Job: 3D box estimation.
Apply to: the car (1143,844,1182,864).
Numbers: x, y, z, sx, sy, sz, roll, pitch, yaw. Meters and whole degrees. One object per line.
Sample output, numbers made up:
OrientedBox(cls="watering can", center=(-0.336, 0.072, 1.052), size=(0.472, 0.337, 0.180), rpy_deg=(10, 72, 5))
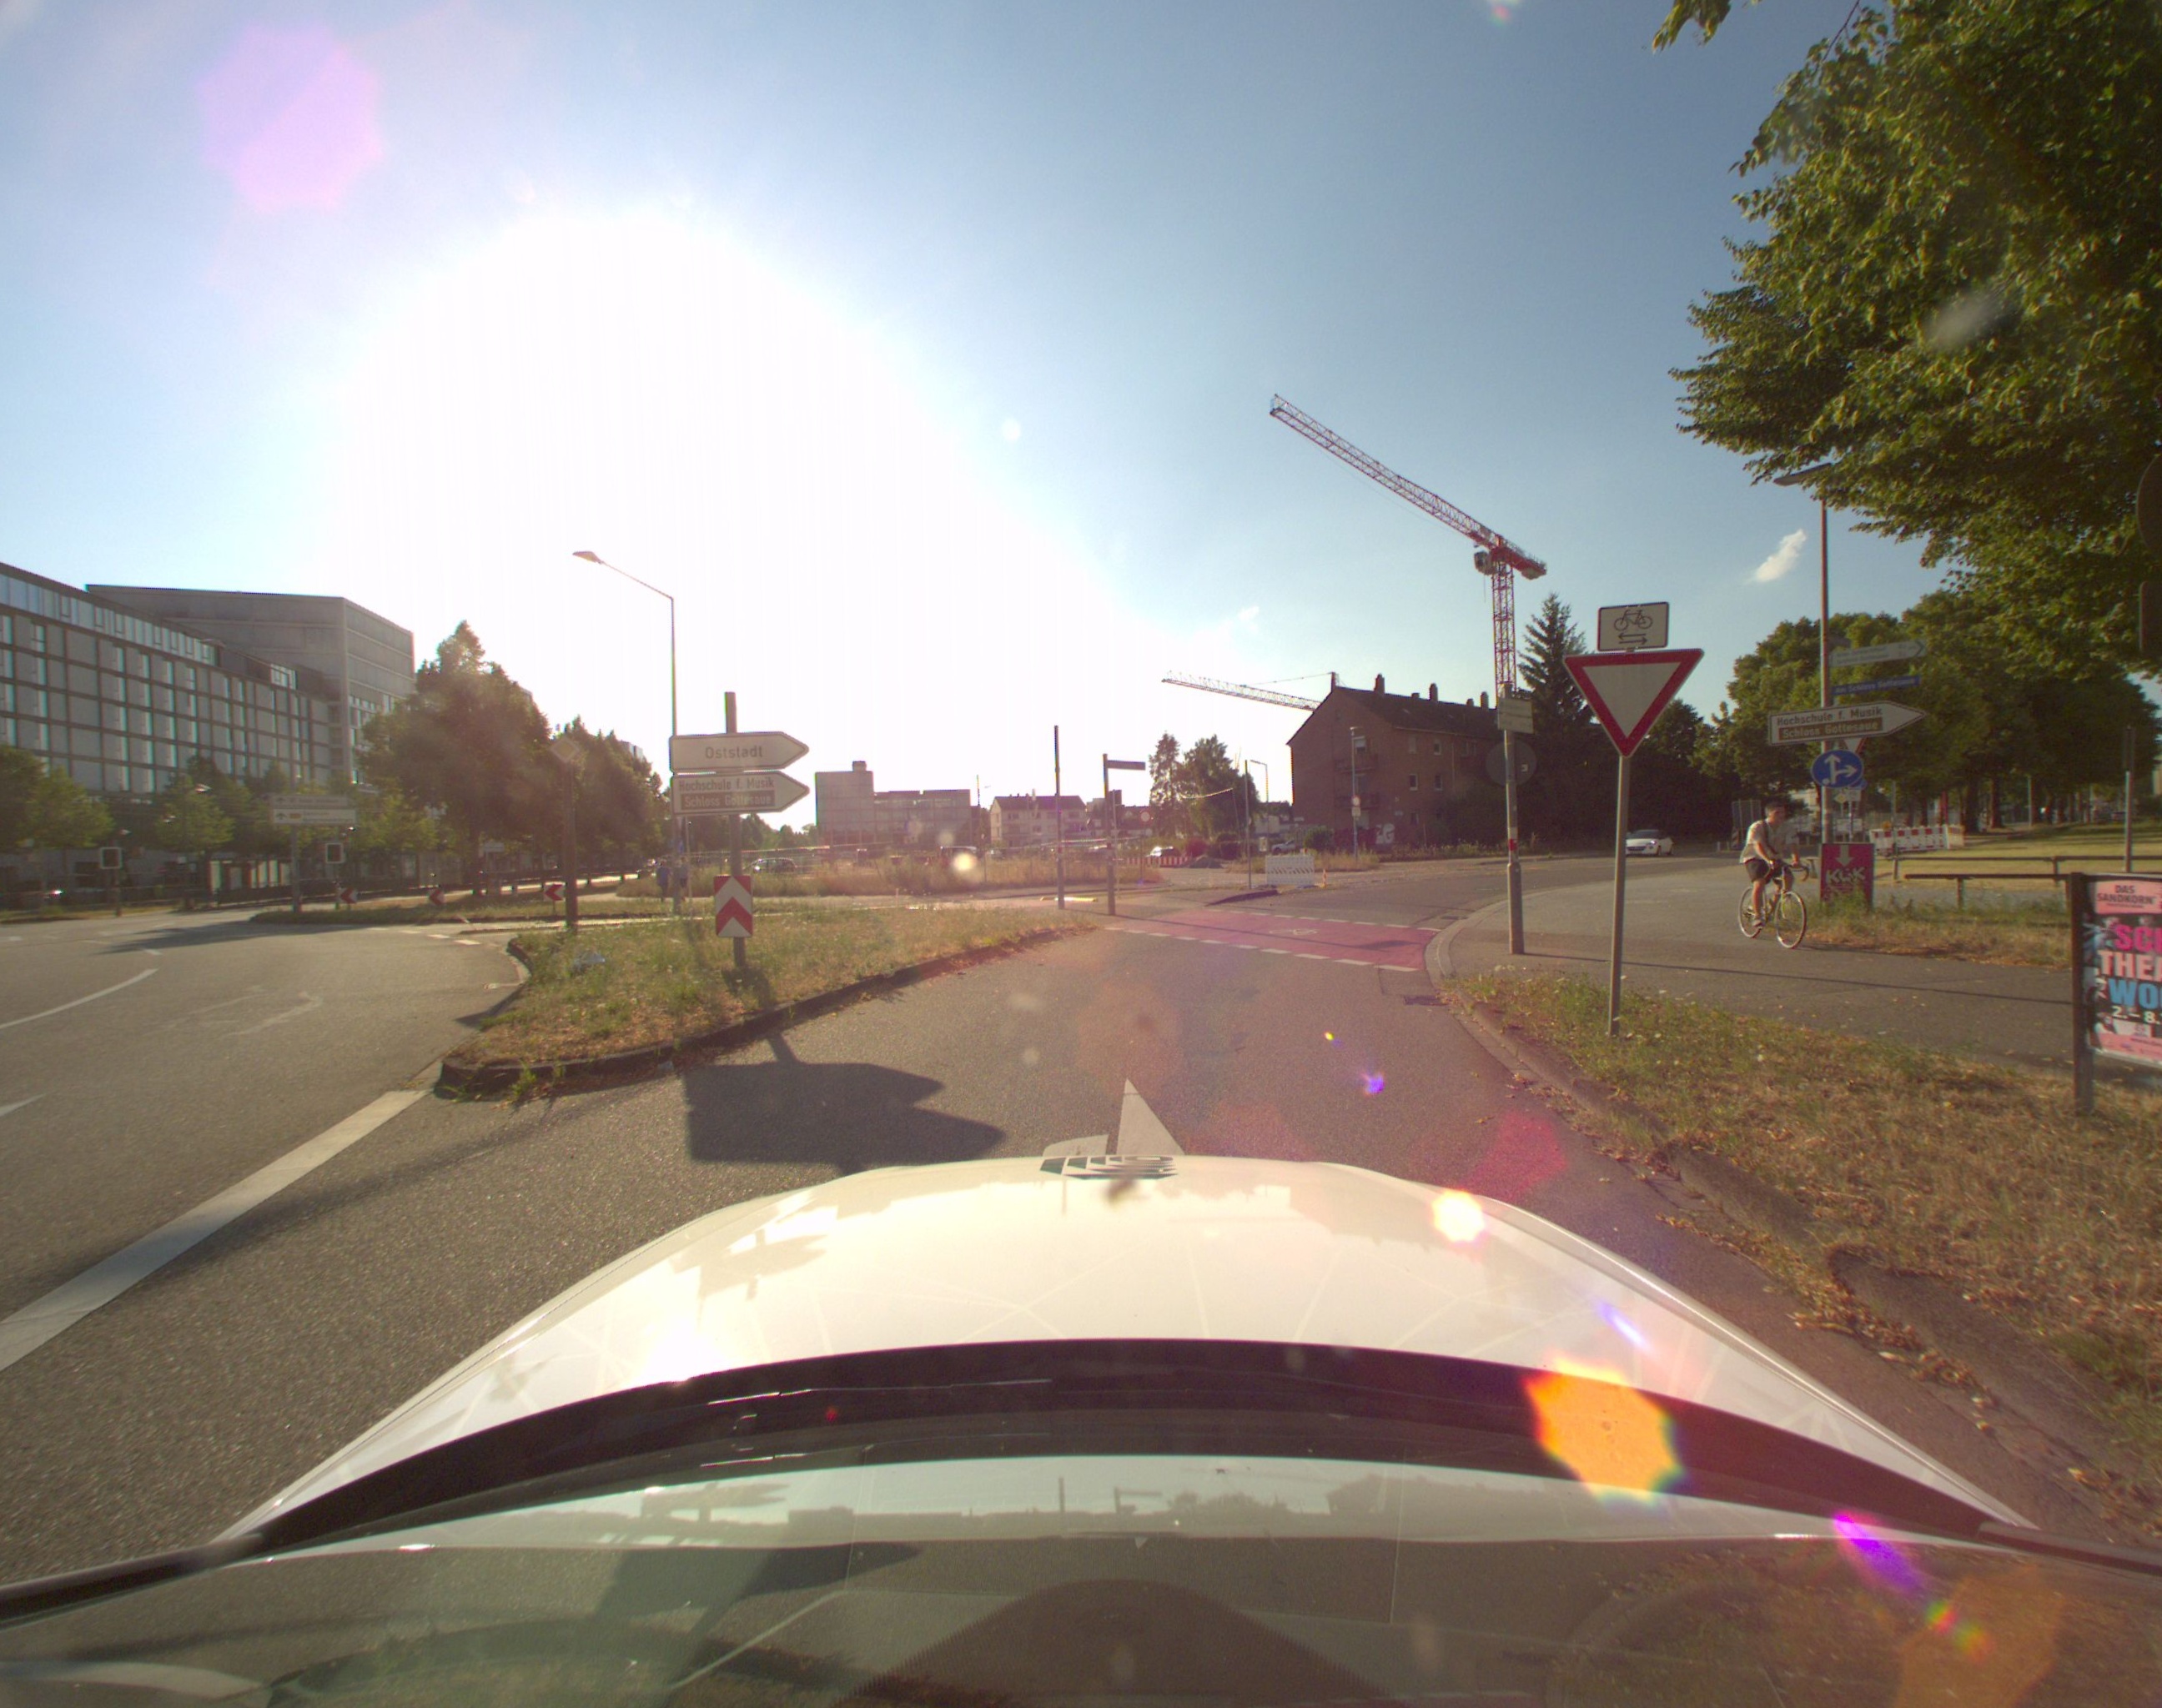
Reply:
OrientedBox(cls="car", center=(7.063, 0.013, 71.187), size=(1.998, 1.552, 3.978), rpy_deg=(-3, 0, -16))

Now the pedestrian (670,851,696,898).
OrientedBox(cls="pedestrian", center=(-15.665, 0.800, 32.067), size=(0.763, 1.775, 0.764), rpy_deg=(-3, 0, -33))

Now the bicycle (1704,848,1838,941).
OrientedBox(cls="bicycle", center=(8.852, 0.481, 10.546), size=(0.528, 1.055, 1.922), rpy_deg=(-4, 0, 16))

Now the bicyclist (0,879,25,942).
OrientedBox(cls="bicyclist", center=(-24.879, 1.299, 18.499), size=(0.871, 1.410, 0.624), rpy_deg=(-1, 0, -20))

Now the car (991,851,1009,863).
OrientedBox(cls="car", center=(-13.428, 0.528, 134.661), size=(2.152, 1.837, 4.335), rpy_deg=(-2, 0, -18))

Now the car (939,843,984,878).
OrientedBox(cls="car", center=(-7.390, 0.381, 50.903), size=(1.988, 2.013, 5.311), rpy_deg=(-2, 0, -1))

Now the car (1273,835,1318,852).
OrientedBox(cls="car", center=(20.897, -1.025, 79.288), size=(3.952, 1.530, 2.011), rpy_deg=(-2, 0, 22))

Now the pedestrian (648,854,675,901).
OrientedBox(cls="pedestrian", center=(-16.127, 0.891, 31.268), size=(0.789, 1.708, 0.804), rpy_deg=(-3, 0, -33))

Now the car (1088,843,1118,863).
OrientedBox(cls="car", center=(2.298, -0.108, 86.608), size=(1.869, 1.947, 3.973), rpy_deg=(-3, 0, -20))

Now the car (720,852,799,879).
OrientedBox(cls="car", center=(-19.115, 0.672, 48.473), size=(4.251, 1.363, 1.984), rpy_deg=(-3, 0, -24))

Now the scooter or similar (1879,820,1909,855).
OrientedBox(cls="scooter or similar", center=(31.018, -0.634, 31.074), size=(1.469, 1.292, 0.555), rpy_deg=(-2, 0, -35))

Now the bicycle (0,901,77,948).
OrientedBox(cls="bicycle", center=(-24.592, 1.634, 18.924), size=(0.852, 0.928, 1.706), rpy_deg=(-2, 0, -23))

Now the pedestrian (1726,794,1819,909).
OrientedBox(cls="pedestrian", center=(8.859, -0.033, 10.467), size=(0.645, 1.391, 0.772), rpy_deg=(-4, -1, 24))

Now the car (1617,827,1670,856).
OrientedBox(cls="car", center=(29.985, -0.703, 43.507), size=(1.743, 1.421, 3.646), rpy_deg=(-1, 2, 25))
